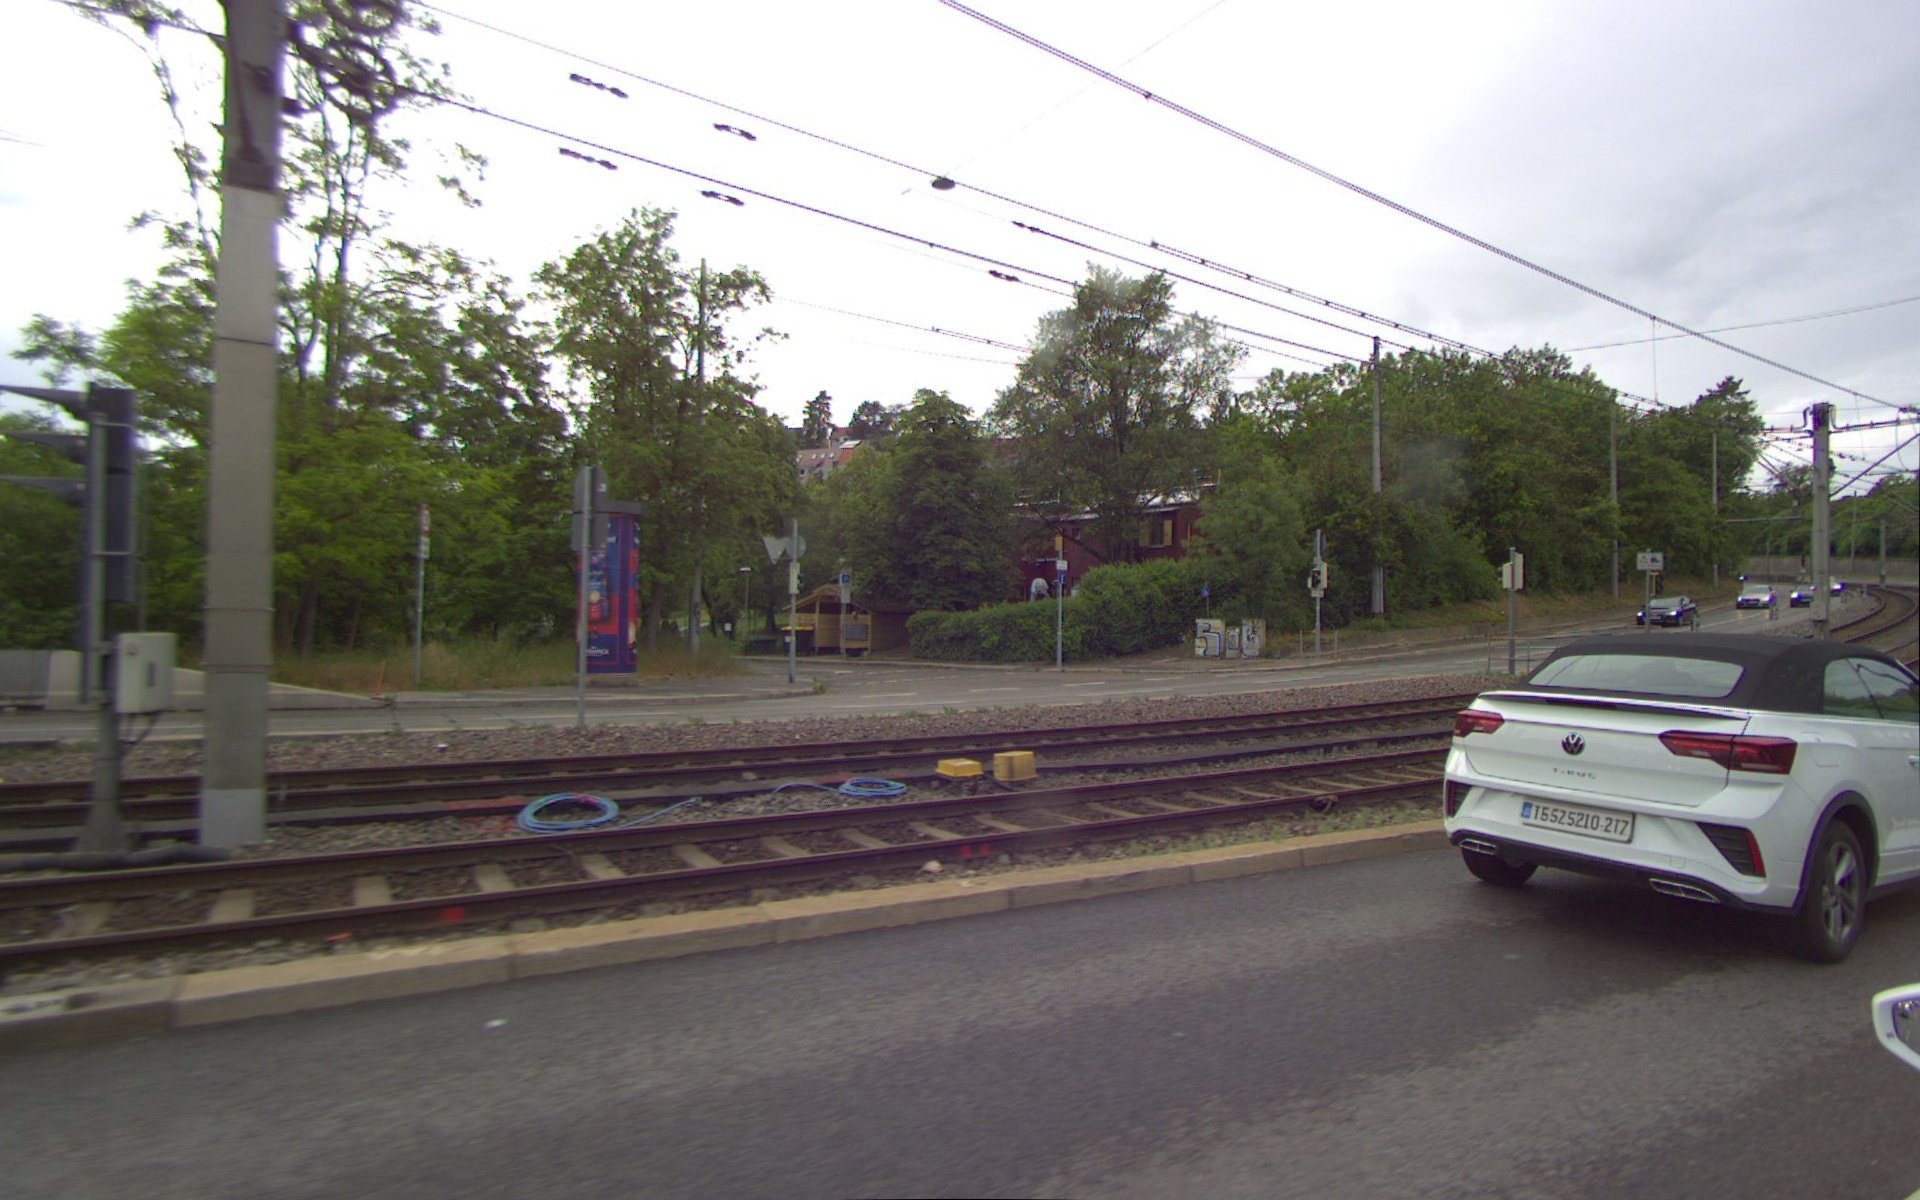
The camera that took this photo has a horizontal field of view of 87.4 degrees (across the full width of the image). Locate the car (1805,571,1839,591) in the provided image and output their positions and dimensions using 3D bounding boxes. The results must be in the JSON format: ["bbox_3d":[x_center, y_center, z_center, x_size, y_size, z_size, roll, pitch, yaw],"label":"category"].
[{"bbox_3d":[69.720,-1.556,81.280,1.839,1.457,4.833,-3,0,39],"label":"car"}]

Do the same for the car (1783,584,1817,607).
[{"bbox_3d":[54.246,-0.300,64.885,1.614,1.402,3.875,-3,-1,40],"label":"car"}]

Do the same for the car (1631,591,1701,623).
[{"bbox_3d":[35.079,0.356,49.875,4.238,1.478,1.702,-1,-1,-39],"label":"car"}]

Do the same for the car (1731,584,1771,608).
[{"bbox_3d":[51.692,-0.275,65.603,1.799,1.398,4.680,-2,0,41],"label":"car"}]

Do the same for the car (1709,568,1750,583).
[{"bbox_3d":[89.676,-2.823,117.105,1.754,1.692,4.742,-2,1,9],"label":"car"}]

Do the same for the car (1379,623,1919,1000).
[{"bbox_3d":[4.776,0.966,6.122,4.489,1.544,1.862,2,-2,-32],"label":"car"}]

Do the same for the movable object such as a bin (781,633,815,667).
[{"bbox_3d":[-7.385,2.277,45.838,1.263,1.445,0.677,3,0,21],"label":"movable object such as a bin"}]
